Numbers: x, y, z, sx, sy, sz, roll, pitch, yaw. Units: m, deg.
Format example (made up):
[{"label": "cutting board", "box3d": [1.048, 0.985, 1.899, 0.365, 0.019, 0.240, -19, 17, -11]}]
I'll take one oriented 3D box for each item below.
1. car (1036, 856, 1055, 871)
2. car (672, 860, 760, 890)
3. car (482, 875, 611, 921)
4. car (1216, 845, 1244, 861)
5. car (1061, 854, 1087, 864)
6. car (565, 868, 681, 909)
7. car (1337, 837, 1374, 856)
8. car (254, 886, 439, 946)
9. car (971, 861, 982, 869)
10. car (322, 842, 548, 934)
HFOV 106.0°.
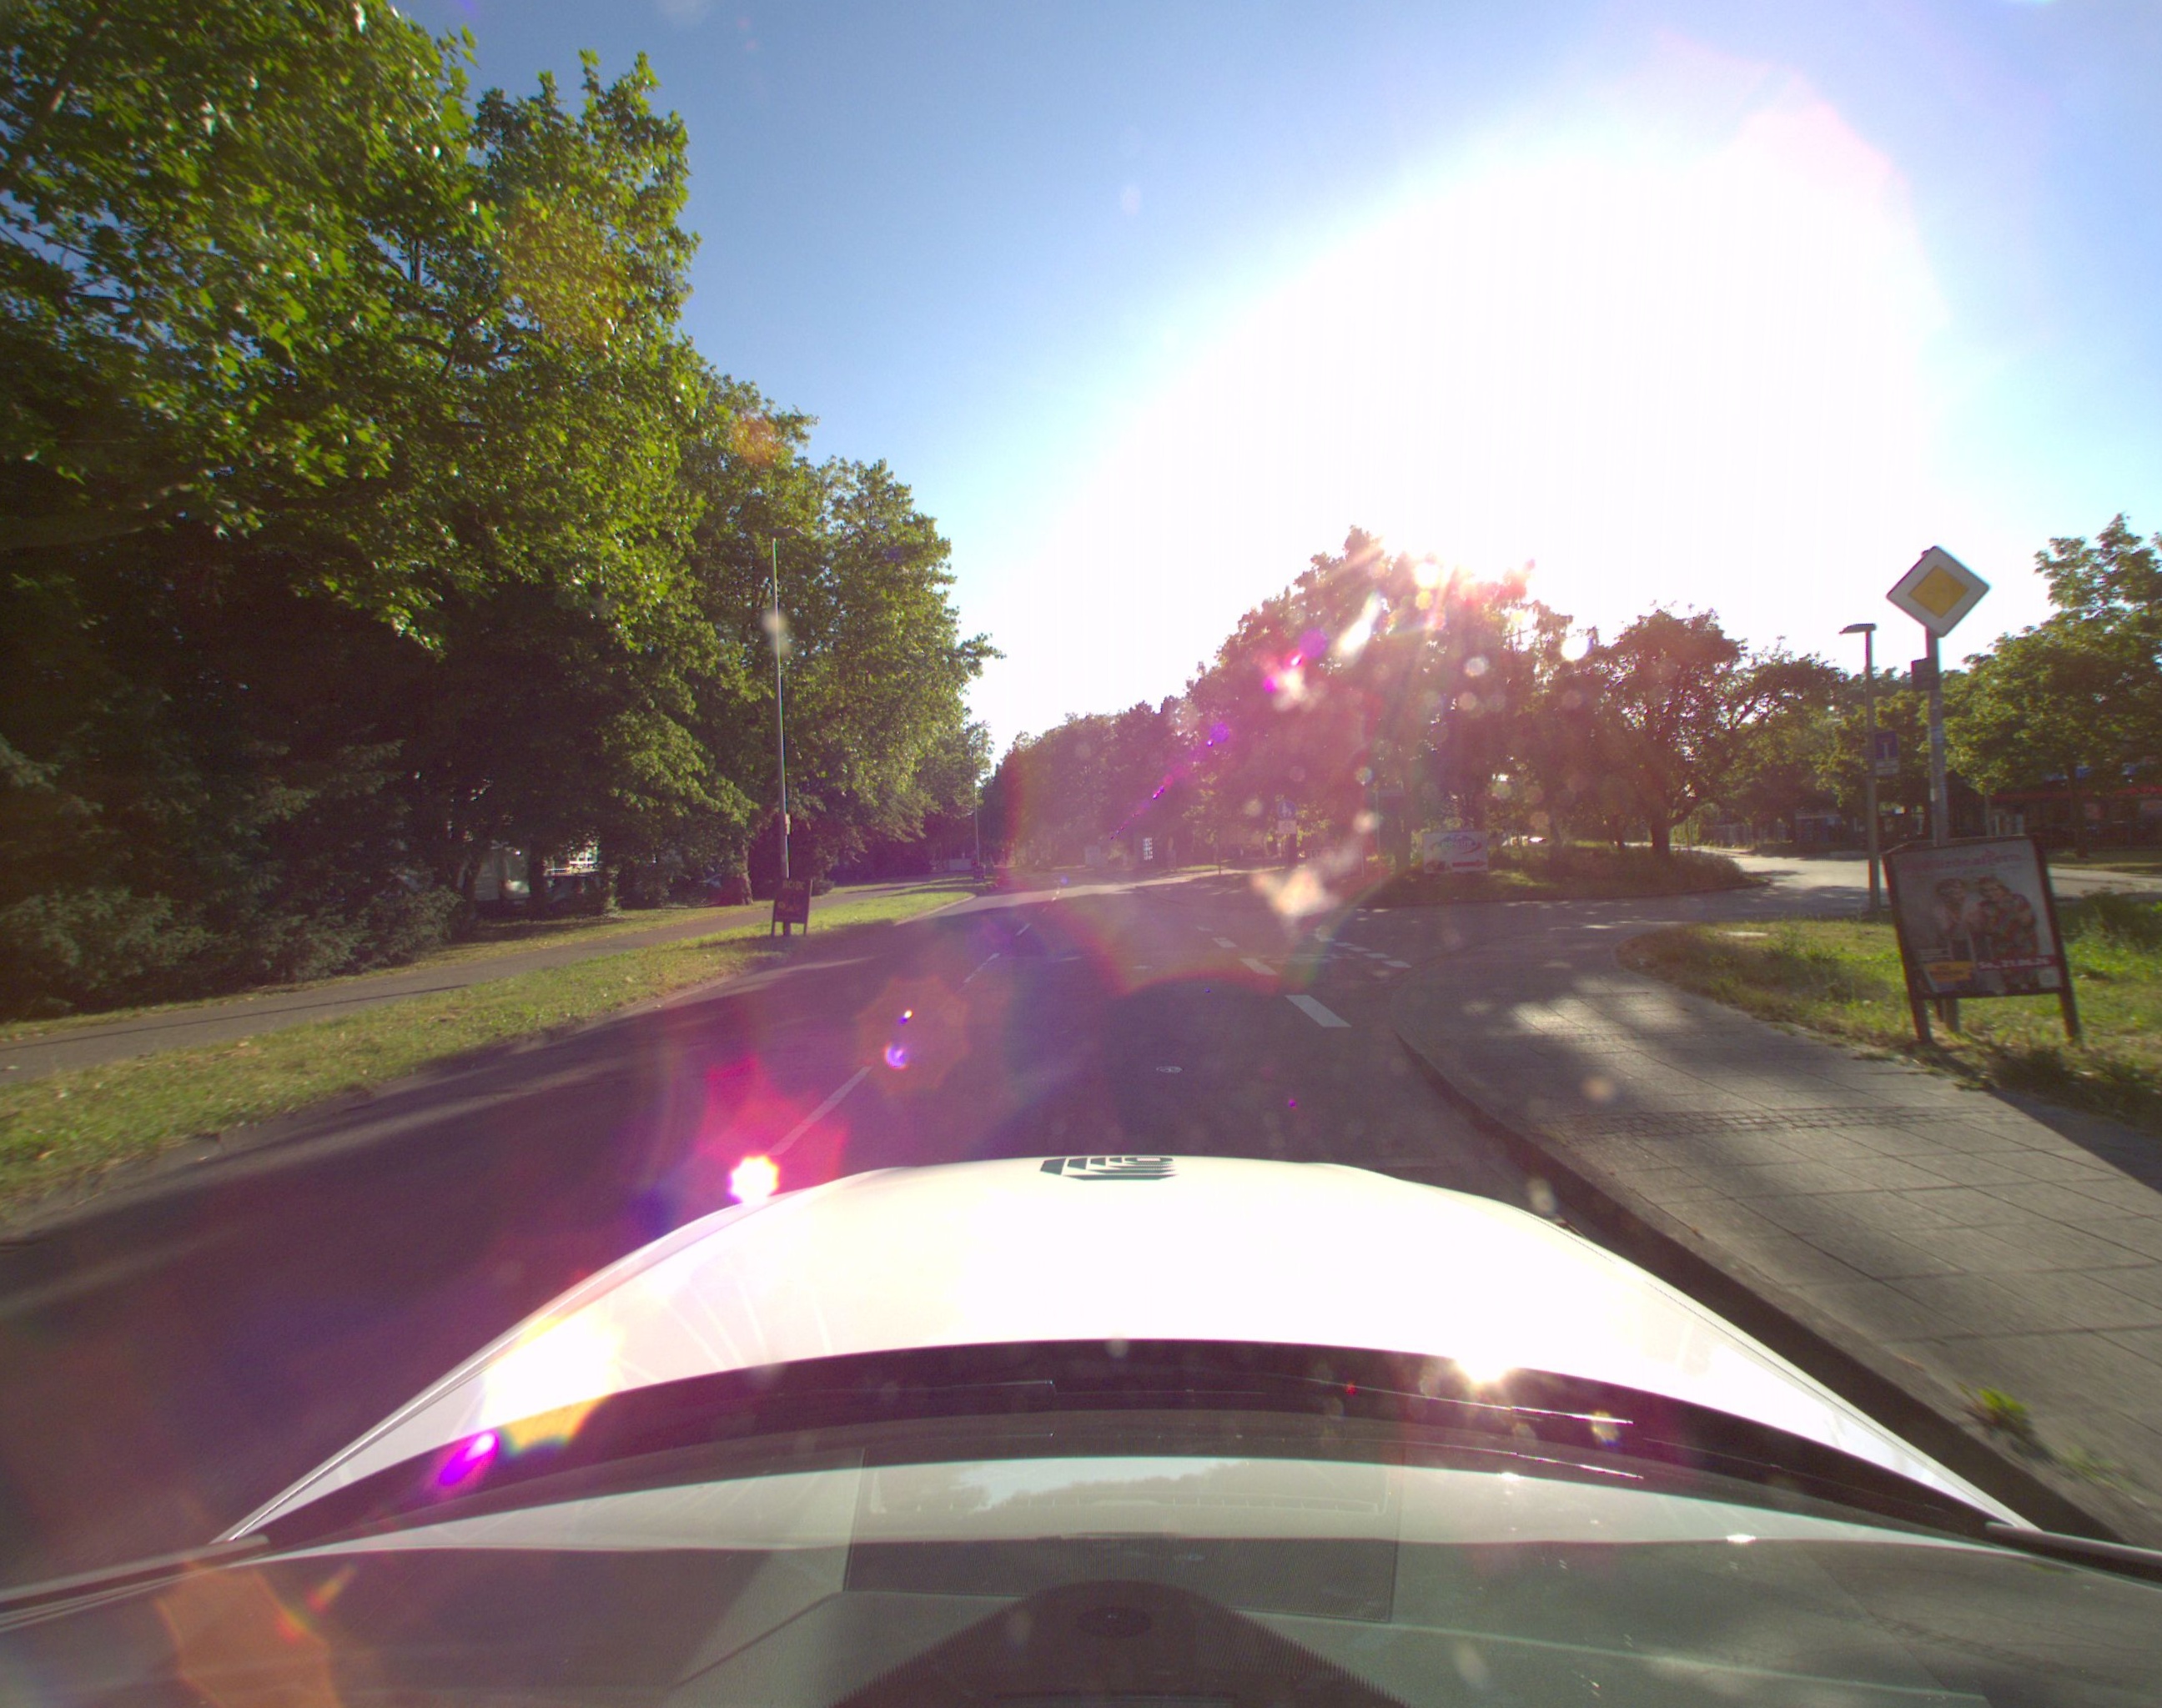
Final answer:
[{"label": "car", "box3d": [-4.087, 1.108, 95.137, 1.832, 1.605, 3.864, -2, 0, 2]}, {"label": "car", "box3d": [-20.070, 1.123, 44.943, 3.982, 1.508, 1.909, -1, 0, -6]}, {"label": "car", "box3d": [-20.708, 1.673, 31.689, 3.718, 1.500, 1.812, -3, 0, -4]}, {"label": "car", "box3d": [14.690, -0.094, 80.641, 1.837, 1.420, 3.996, -3, 0, -3]}, {"label": "car", "box3d": [-1.192, 0.882, 137.240, 3.987, 1.443, 1.755, -3, 0, -10]}, {"label": "car", "box3d": [-20.883, 1.556, 37.306, 4.121, 1.596, 1.948, -3, 0, -8]}, {"label": "car", "box3d": [27.656, -0.765, 82.165, 1.810, 1.728, 4.390, -3, 0, -5]}, {"label": "car", "box3d": [-20.360, 1.691, 22.695, 3.474, 1.382, 1.690, -3, 0, -4]}, {"label": "car", "box3d": [-27.192, 2.778, 212.973, 1.984, 2.013, 4.005, -2, 0, 4]}, {"label": "car", "box3d": [-21.041, 1.066, 26.752, 5.417, 2.501, 2.184, -4, 0, -3]}]
